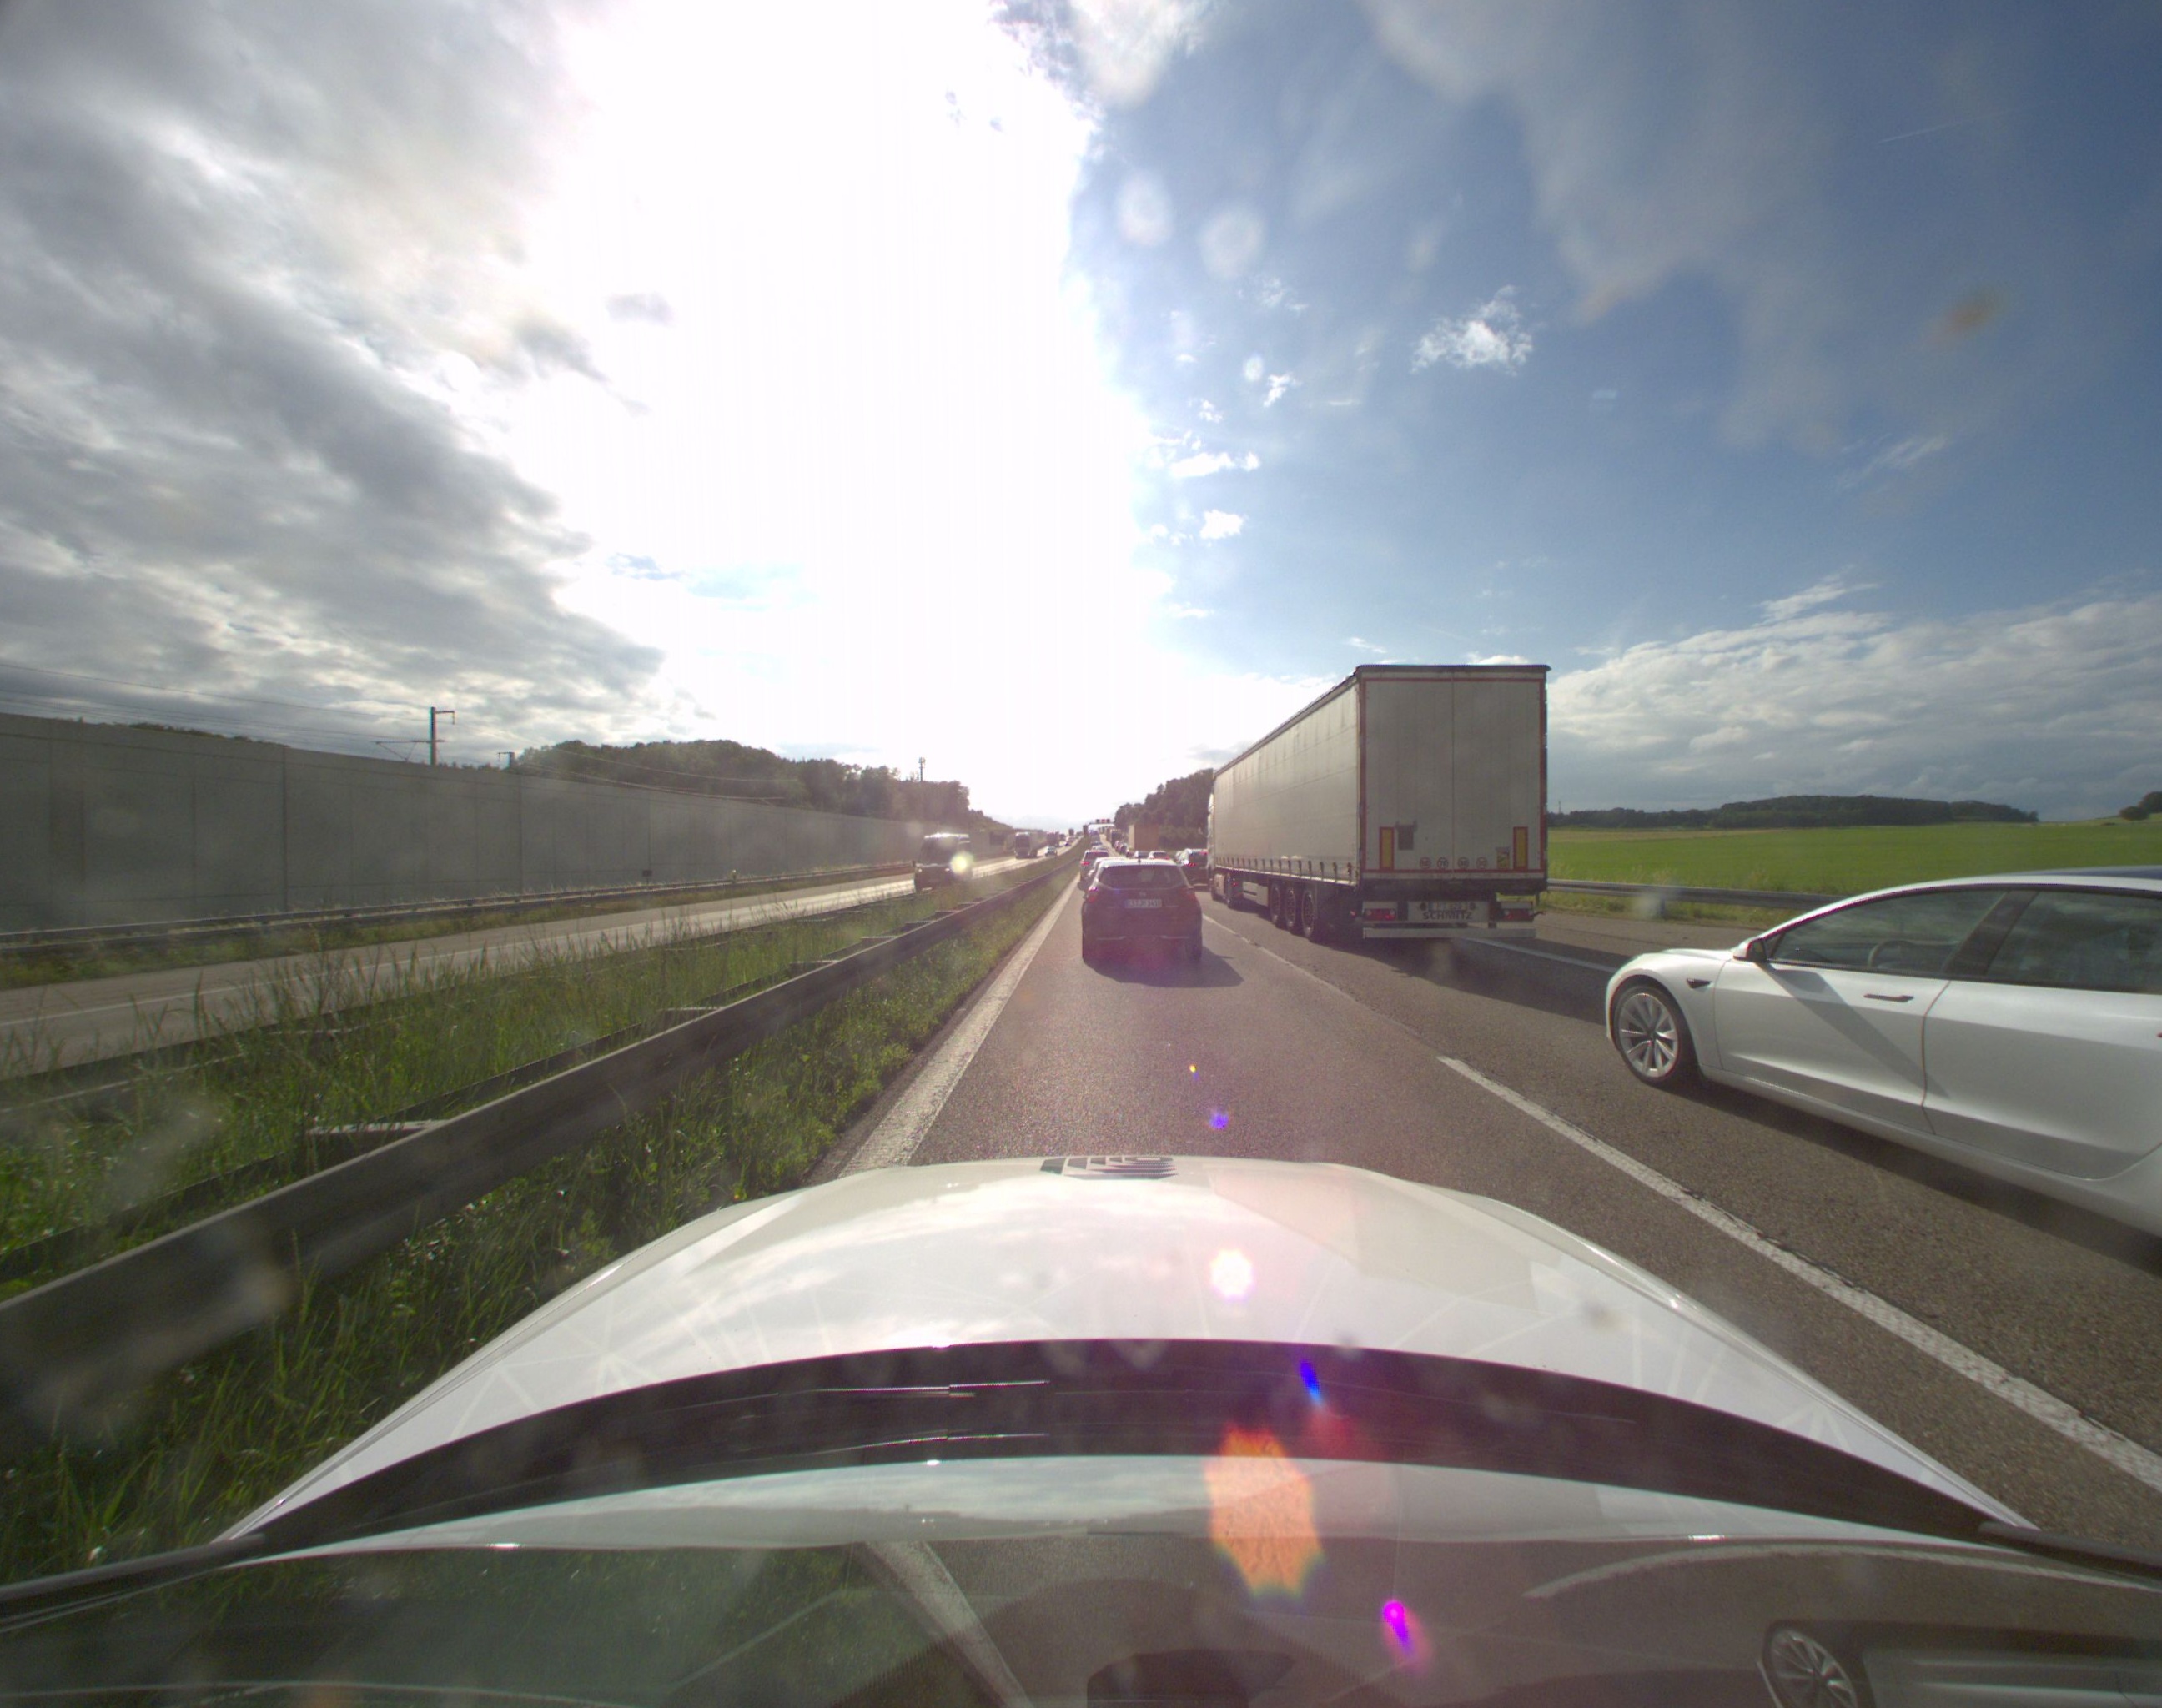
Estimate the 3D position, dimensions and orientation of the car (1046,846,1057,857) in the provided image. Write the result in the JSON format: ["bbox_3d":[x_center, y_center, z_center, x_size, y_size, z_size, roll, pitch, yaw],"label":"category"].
[{"bbox_3d":[-4.886,-0.358,135.584,1.738,1.706,4.230,0,-1,0],"label":"car"}]

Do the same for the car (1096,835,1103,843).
[{"bbox_3d":[5.443,-4.372,241.320,1.867,2.158,5.213,-1,2,1],"label":"car"}]

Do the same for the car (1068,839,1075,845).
[{"bbox_3d":[-2.872,-3.581,250.100,1.737,1.705,4.234,0,2,2],"label":"car"}]

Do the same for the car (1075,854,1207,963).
[{"bbox_3d":[0.865,0.757,13.200,1.767,1.451,4.233,-1,0,1],"label":"car"}]

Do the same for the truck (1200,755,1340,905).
[{"bbox_3d":[5.488,-0.596,24.579,3.122,4.016,5.165,-1,-1,1],"label":"truck"}]

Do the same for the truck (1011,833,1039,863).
[{"bbox_3d":[-9.015,-0.967,132.255,3.285,4.577,12.442,-1,0,1],"label":"truck"}]

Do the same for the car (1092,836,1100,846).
[{"bbox_3d":[3.458,-2.976,186.034,1.867,2.158,5.213,-1,2,1],"label":"car"}]

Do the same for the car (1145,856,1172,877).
[{"bbox_3d":[6.421,1.021,67.730,1.866,1.644,4.233,-1,-1,1],"label":"car"}]

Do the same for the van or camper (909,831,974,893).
[{"bbox_3d":[-6.689,0.411,39.742,2.083,2.820,5.896,0,-1,1],"label":"van or camper"}]

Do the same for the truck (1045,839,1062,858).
[{"bbox_3d":[-6.967,-1.449,211.045,3.283,4.554,12.450,-1,0,3],"label":"truck"}]

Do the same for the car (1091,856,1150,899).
[{"bbox_3d":[1.332,0.768,28.269,1.866,1.358,4.233,-1,0,1],"label":"car"}]

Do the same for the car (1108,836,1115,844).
[{"bbox_3d":[9.117,-4.270,245.054,1.867,2.158,5.213,-1,2,1],"label":"car"}]

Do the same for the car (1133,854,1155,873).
[{"bbox_3d":[6.089,0.892,78.719,1.866,1.644,4.233,-1,0,1],"label":"car"}]

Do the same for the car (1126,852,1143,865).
[{"bbox_3d":[6.638,0.556,102.105,1.867,1.644,4.232,-1,0,0],"label":"car"}]

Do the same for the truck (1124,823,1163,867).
[{"bbox_3d":[6.811,-0.870,90.701,3.286,4.577,12.437,0,-1,0],"label":"truck"}]

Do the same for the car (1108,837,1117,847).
[{"bbox_3d":[7.325,-2.853,189.925,1.867,2.158,5.213,-1,2,1],"label":"car"}]

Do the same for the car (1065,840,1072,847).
[{"bbox_3d":[-3.245,-2.664,211.747,1.737,1.705,4.234,0,1,2],"label":"car"}]

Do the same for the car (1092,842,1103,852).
[{"bbox_3d":[2.799,-1.199,141.473,1.867,1.644,4.232,-1,1,0],"label":"car"}]

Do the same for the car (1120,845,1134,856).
[{"bbox_3d":[7.504,-0.635,133.144,1.868,1.644,4.229,-1,1,-2],"label":"car"}]

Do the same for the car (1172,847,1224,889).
[{"bbox_3d":[4.912,0.574,34.719,1.691,1.611,4.439,-1,0,2],"label":"car"}]

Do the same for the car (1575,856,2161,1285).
[{"bbox_3d":[4.452,0.720,3.605,1.783,1.394,4.435,-1,0,-1],"label":"car"}]

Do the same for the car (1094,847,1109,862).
[{"bbox_3d":[2.590,0.040,102.044,1.866,1.644,4.234,-1,1,1],"label":"car"}]

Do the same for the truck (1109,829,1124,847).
[{"bbox_3d":[9.377,-4.290,215.831,3.453,4.577,12.439,0,1,0],"label":"truck"}]

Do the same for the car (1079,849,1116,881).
[{"bbox_3d":[0.913,0.603,44.846,1.866,1.644,4.233,-1,0,1],"label":"car"}]

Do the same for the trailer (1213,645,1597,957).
[{"bbox_3d":[5.268,-0.551,17.225,3.119,4.011,13.370,-1,-1,2],"label":"trailer"}]

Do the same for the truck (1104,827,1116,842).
[{"bbox_3d":[9.228,-6.113,261.636,3.453,4.577,12.439,0,1,0],"label":"truck"}]
